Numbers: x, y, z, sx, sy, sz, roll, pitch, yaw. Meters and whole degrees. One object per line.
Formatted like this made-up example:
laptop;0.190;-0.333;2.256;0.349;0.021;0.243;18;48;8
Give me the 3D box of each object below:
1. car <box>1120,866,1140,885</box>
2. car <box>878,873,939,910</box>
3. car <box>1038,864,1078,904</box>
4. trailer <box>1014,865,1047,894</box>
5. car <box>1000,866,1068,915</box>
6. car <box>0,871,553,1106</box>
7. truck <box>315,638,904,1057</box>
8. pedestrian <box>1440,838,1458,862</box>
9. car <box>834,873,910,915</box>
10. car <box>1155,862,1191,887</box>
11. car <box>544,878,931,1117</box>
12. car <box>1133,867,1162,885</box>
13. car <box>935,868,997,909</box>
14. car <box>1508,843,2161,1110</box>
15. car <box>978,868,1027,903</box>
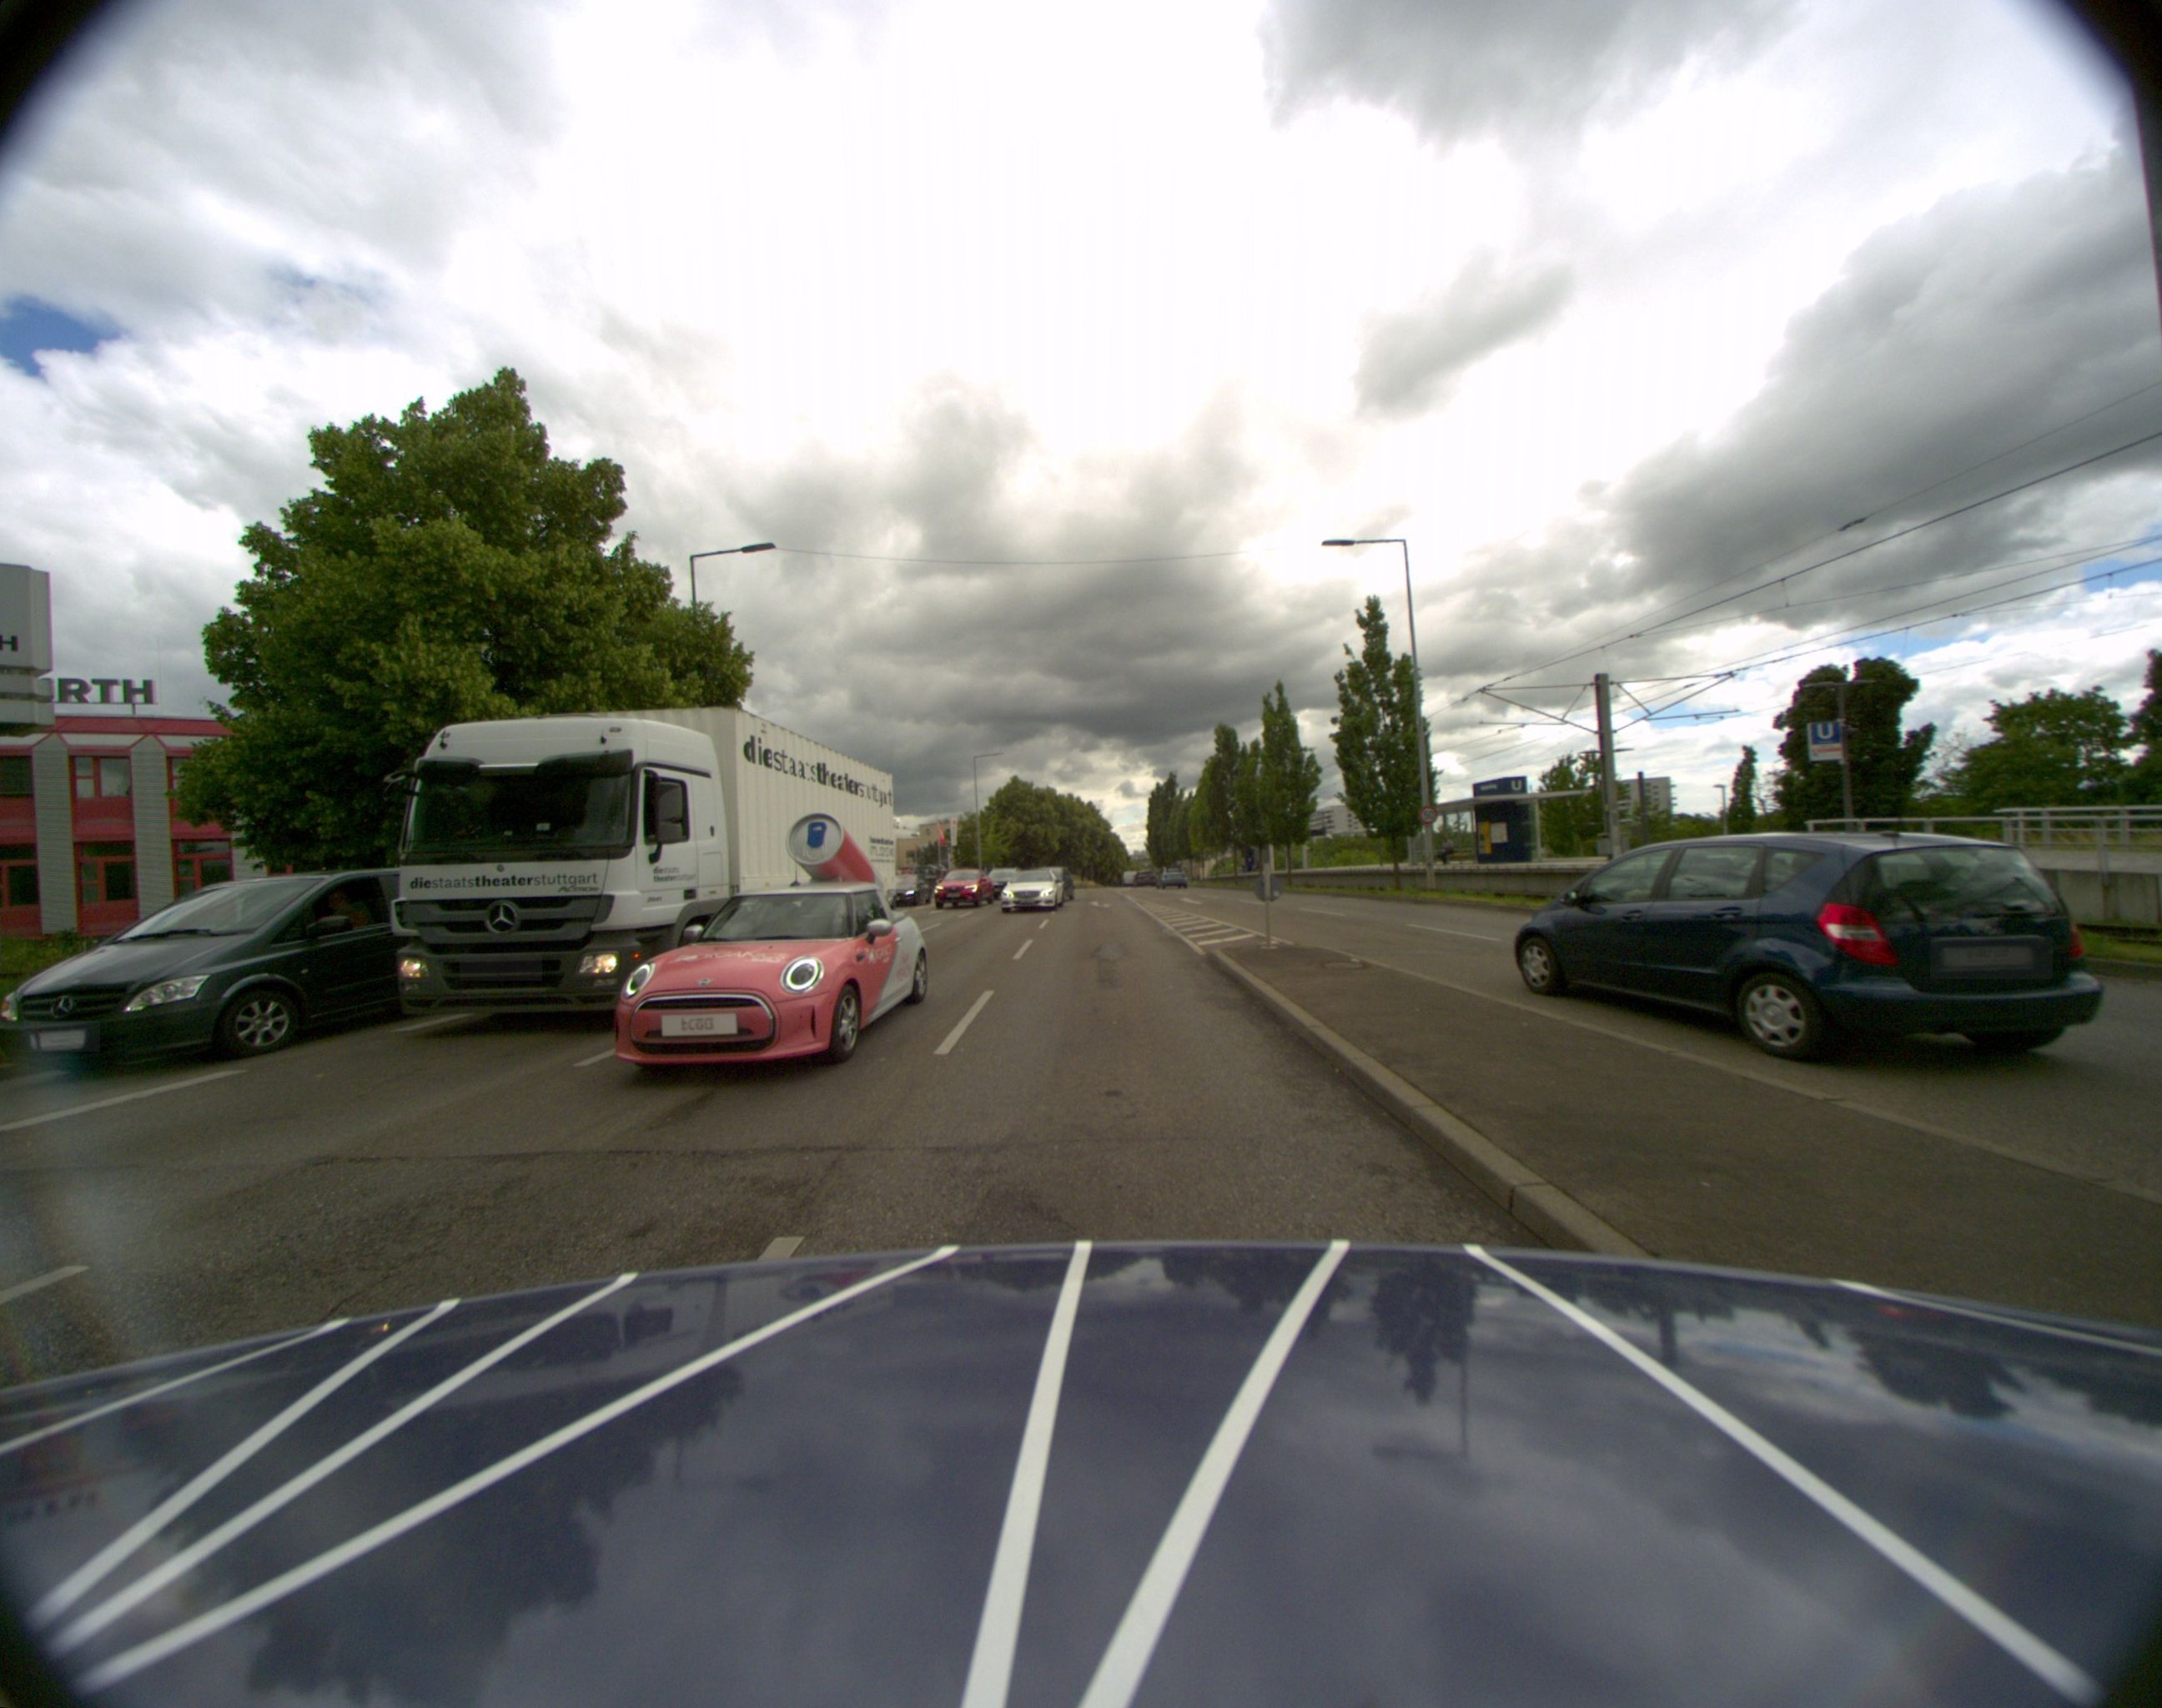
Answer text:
car;5.885;2.559;91.878;1.920;1.953;5.372;-2;1;-1
car;-7.999;1.704;35.596;1.763;1.431;4.370;-3;0;0
car;-1.010;1.331;35.390;1.669;1.589;3.996;-2;1;0
trailer;-3.407;1.704;51.916;1.775;1.650;3.996;-2;1;1
car;-1.590;1.243;27.131;1.804;1.403;4.318;-2;1;4
car;-8.784;1.227;8.823;1.763;1.764;4.675;-6;0;2
truck;-5.679;-0.042;12.318;2.809;3.880;10.183;-2;0;2
pedestrian;17.791;-0.190;36.728;0.601;1.148;0.447;-2;1;1
car;-8.328;1.556;30.637;1.763;1.431;4.370;-3;0;0
car;6.194;1.358;51.405;1.761;1.519;3.599;-2;1;-3
car;-2.726;1.054;7.004;1.825;1.497;3.495;-2;0;2
car;5.871;1.939;67.802;1.876;1.416;4.430;-2;1;-4
car;-4.715;1.385;31.777;1.851;1.521;4.377;-2;-1;0
car;5.515;0.727;6.310;1.740;1.499;3.659;-2;0;-2
car;-4.032;1.579;39.505;1.797;1.521;4.219;-2;1;3
